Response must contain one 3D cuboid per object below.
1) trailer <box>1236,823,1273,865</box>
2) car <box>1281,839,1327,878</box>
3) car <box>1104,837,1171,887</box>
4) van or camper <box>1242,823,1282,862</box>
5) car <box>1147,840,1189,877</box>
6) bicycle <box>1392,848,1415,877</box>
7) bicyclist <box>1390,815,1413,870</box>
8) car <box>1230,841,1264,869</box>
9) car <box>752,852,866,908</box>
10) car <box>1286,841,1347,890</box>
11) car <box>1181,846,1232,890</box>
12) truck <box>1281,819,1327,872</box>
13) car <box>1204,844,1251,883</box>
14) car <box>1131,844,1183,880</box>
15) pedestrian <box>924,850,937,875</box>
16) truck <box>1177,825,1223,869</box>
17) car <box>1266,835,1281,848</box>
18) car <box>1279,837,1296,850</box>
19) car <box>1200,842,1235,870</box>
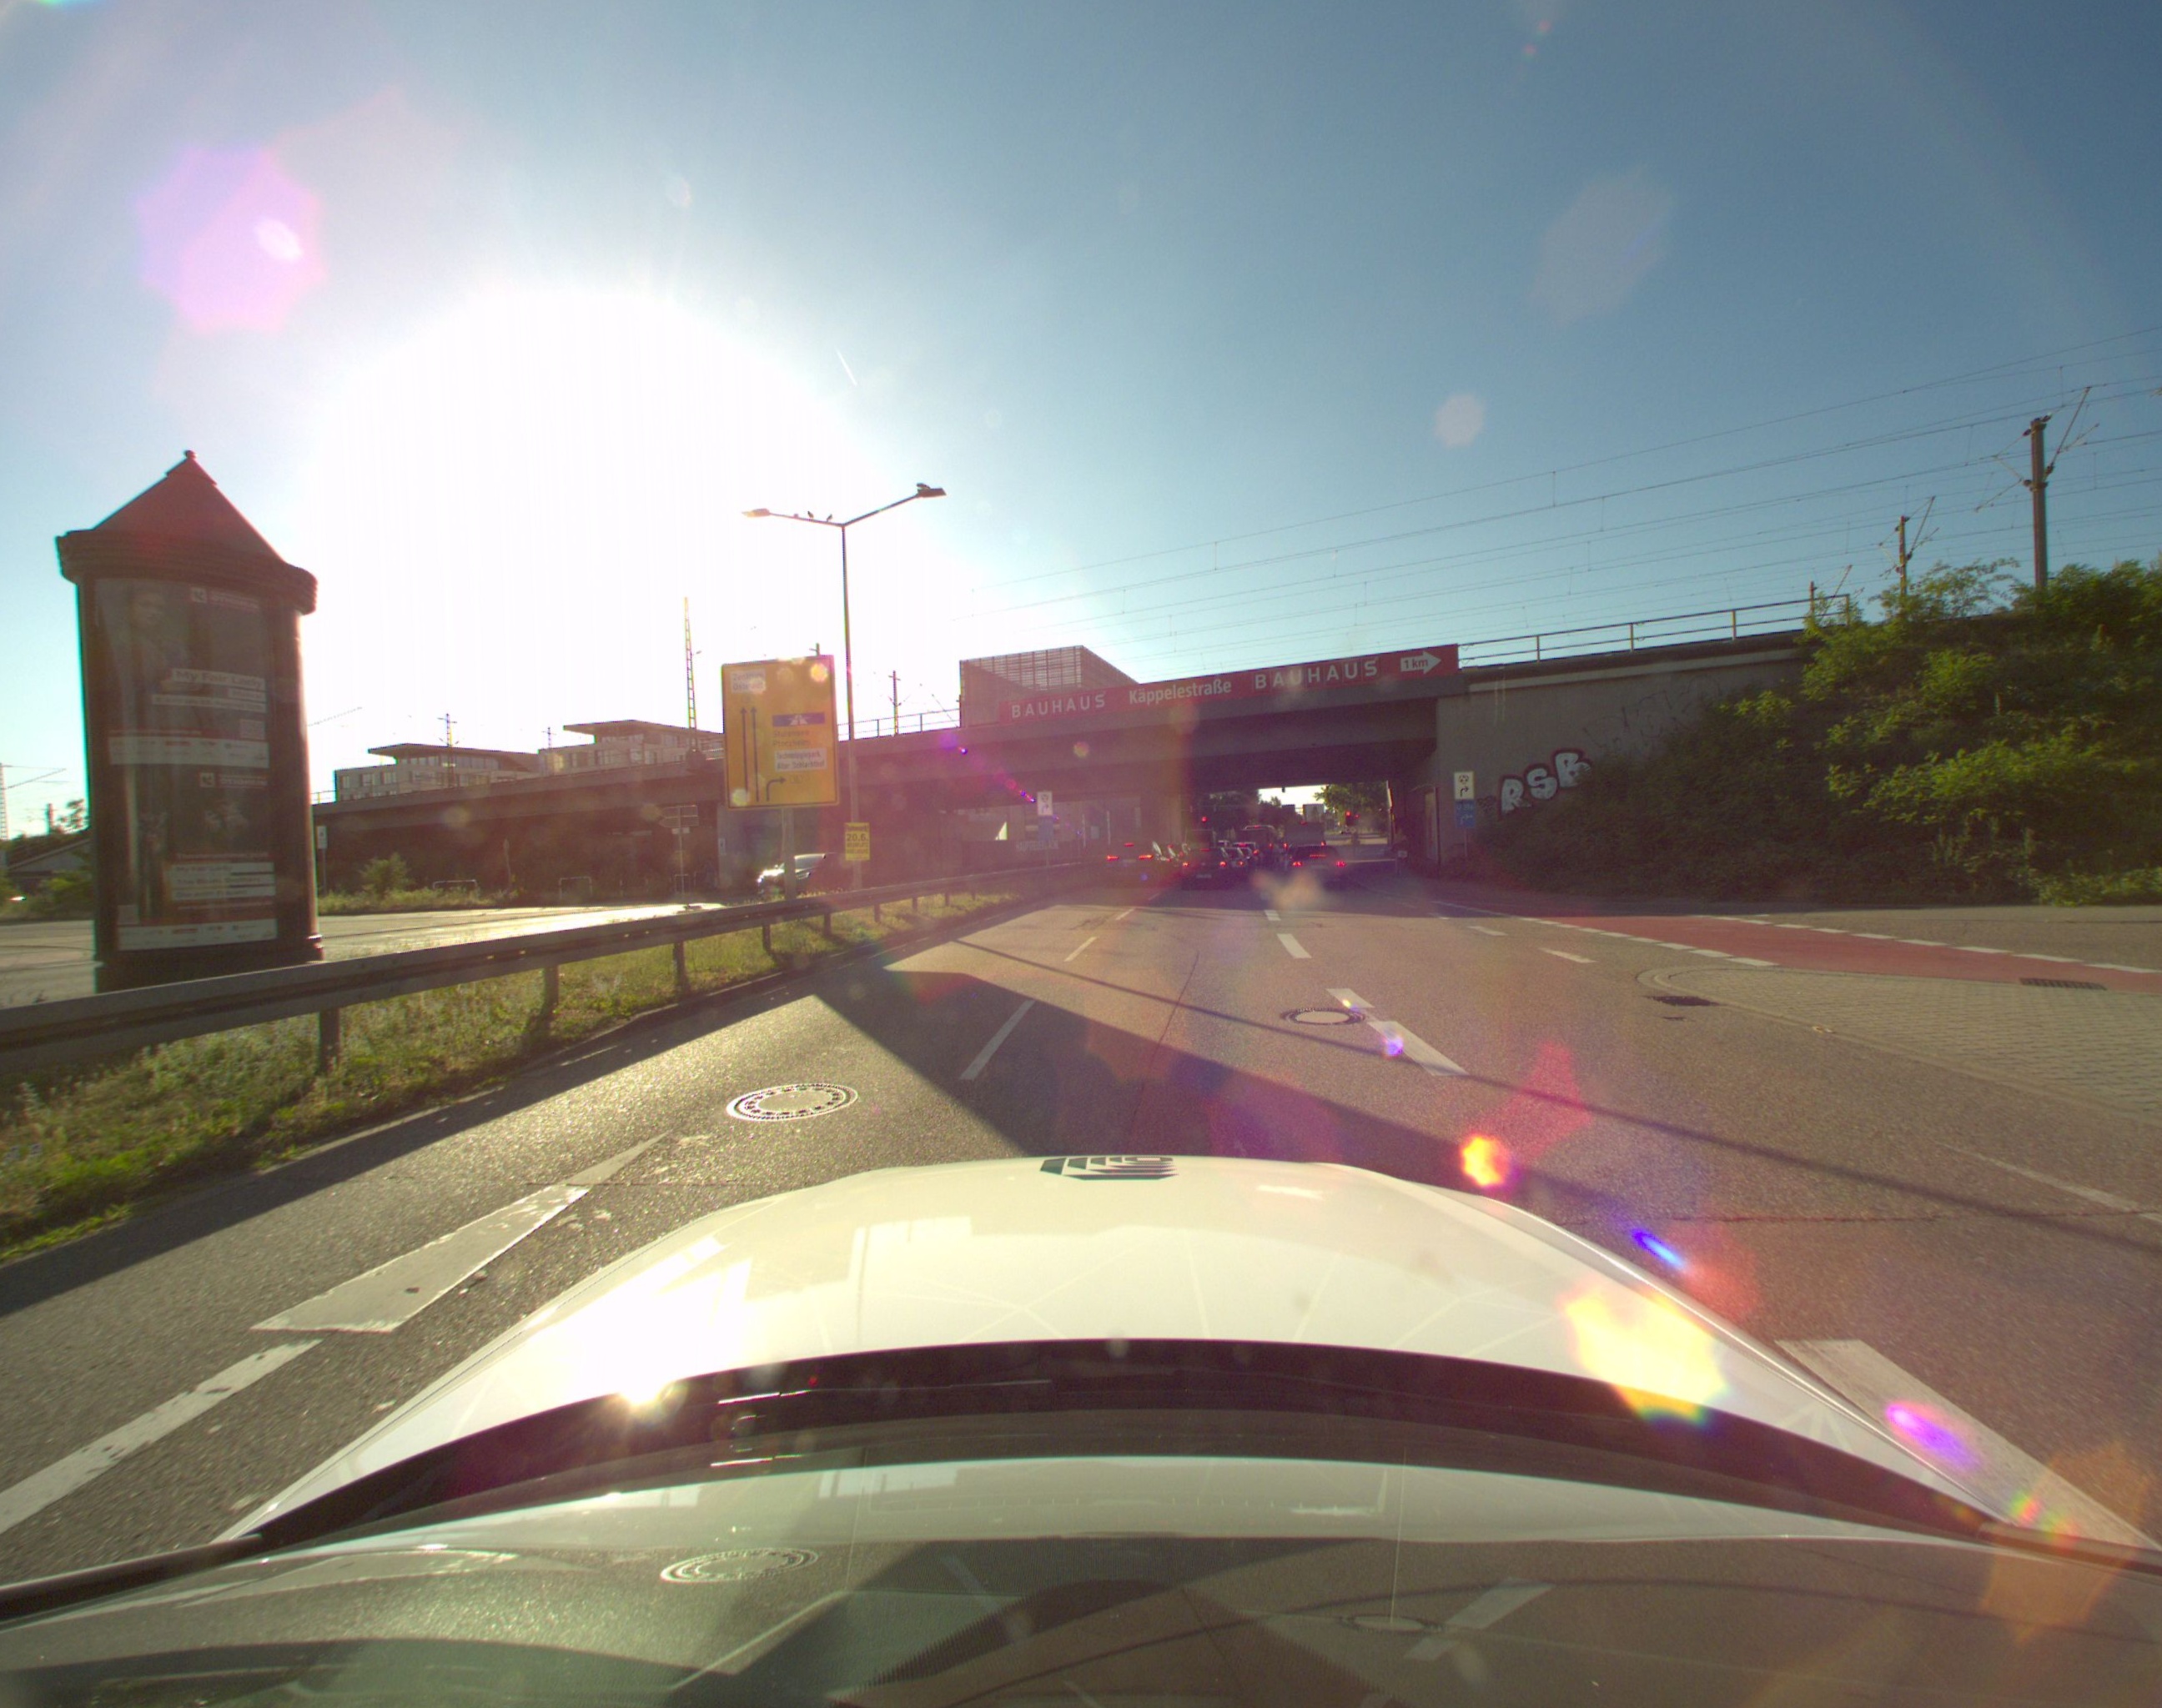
[{"bbox_3d":[11.158,-0.622,52.333,1.849,2.465,3.849,-3,-1,17],"label":"trailer"},{"bbox_3d":[9.698,0.185,35.536,1.759,1.495,3.847,-3,-1,15],"label":"car"},{"bbox_3d":[2.263,0.294,31.534,1.816,1.738,4.477,-2,-1,13],"label":"car"},{"bbox_3d":[12.848,-0.779,57.660,1.977,2.570,5.947,-2,0,19],"label":"van or camper"},{"bbox_3d":[4.738,0.242,43.794,1.830,1.719,4.011,-5,-1,10],"label":"car"},{"bbox_3d":[11.506,0.279,29.084,0.574,0.963,2.900,-2,-1,19],"label":"bicycle"},{"bbox_3d":[11.409,-0.411,29.007,0.676,1.907,0.837,-2,-1,19],"label":"bicyclist"},{"bbox_3d":[9.493,0.051,46.445,1.570,1.532,3.847,-1,0,15],"label":"car"},{"bbox_3d":[-9.100,0.837,27.640,1.836,1.603,4.402,-5,-1,7],"label":"car"},{"bbox_3d":[8.076,0.347,28.216,1.728,1.454,4.623,-1,1,13],"label":"car"},{"bbox_3d":[4.478,0.465,28.796,1.571,1.408,3.844,-1,0,11],"label":"car"},{"bbox_3d":[11.739,-0.424,43.111,2.096,2.519,4.418,-3,-1,14],"label":"truck"},{"bbox_3d":[6.112,0.357,33.788,1.536,1.423,3.431,-5,0,14],"label":"car"},{"bbox_3d":[3.607,0.368,38.039,1.829,1.440,3.688,-5,-1,12],"label":"car"},{"bbox_3d":[-11.443,0.642,61.890,0.688,1.903,0.668,-2,-1,17],"label":"pedestrian"},{"bbox_3d":[7.544,-0.416,51.253,2.012,2.556,5.561,-2,0,16],"label":"truck"},{"bbox_3d":[25.985,-1.708,109.949,1.786,1.604,3.756,-2,-1,16],"label":"car"},{"bbox_3d":[25.582,-1.287,100.926,1.786,1.604,4.017,-2,-1,16],"label":"car"},{"bbox_3d":[10.039,0.120,59.723,1.978,1.901,4.018,-2,-1,17],"label":"car"}]
